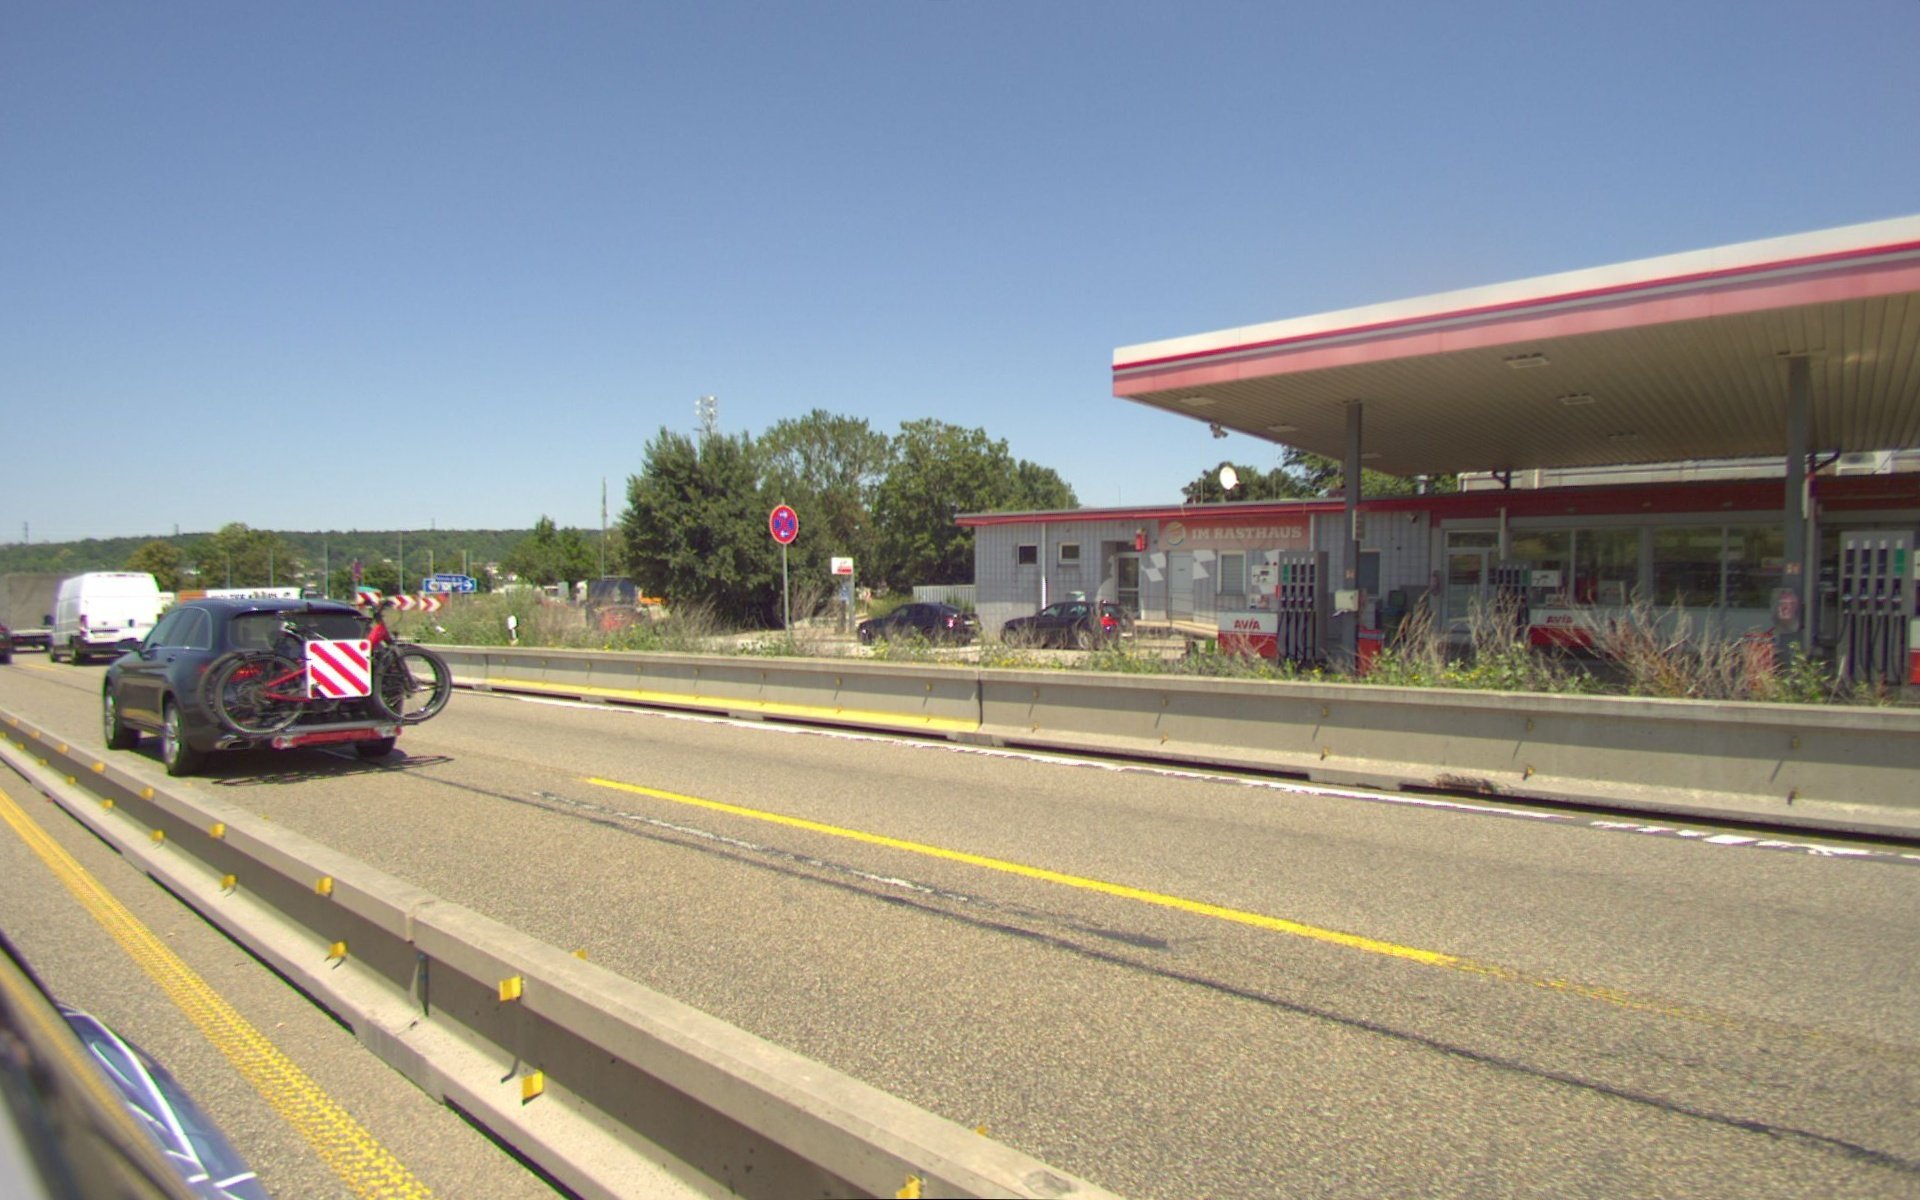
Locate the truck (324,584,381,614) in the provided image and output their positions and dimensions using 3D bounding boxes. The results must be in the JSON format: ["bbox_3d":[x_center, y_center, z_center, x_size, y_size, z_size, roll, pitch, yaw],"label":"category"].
[{"bbox_3d":[-85.601,-0.099,142.770,6.054,3.777,2.837,-4,2,-4],"label":"truck"}]

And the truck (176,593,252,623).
[{"bbox_3d":[-126.040,1.306,171.088,9.742,4.250,3.590,-4,2,-6],"label":"truck"}]

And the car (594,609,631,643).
[{"bbox_3d":[-16.291,1.179,47.469,1.478,1.342,4.199,-4,2,-19],"label":"car"}]

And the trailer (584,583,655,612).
[{"bbox_3d":[-47.545,-0.282,141.135,13.427,3.650,2.991,-2,0,41],"label":"trailer"}]

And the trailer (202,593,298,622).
[{"bbox_3d":[-111.420,1.156,158.908,12.561,3.812,2.624,-4,2,-4],"label":"trailer"}]

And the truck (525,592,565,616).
[{"bbox_3d":[-52.219,0.539,127.284,5.625,2.788,2.247,-2,0,39],"label":"truck"}]

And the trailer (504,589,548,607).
[{"bbox_3d":[-86.466,-0.370,201.421,11.695,3.405,2.915,-2,-1,40],"label":"trailer"}]

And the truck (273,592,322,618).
[{"bbox_3d":[-104.401,0.830,159.542,5.647,3.644,2.585,-4,2,-8],"label":"truck"}]

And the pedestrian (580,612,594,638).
[{"bbox_3d":[-17.308,1.167,46.917,0.467,1.214,0.587,-1,-1,-34],"label":"pedestrian"}]

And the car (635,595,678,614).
[{"bbox_3d":[-40.249,0.565,134.266,4.966,2.270,1.996,-2,0,7],"label":"car"}]

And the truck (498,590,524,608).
[{"bbox_3d":[-91.029,-0.230,205.183,4.902,3.383,2.866,-2,0,39],"label":"truck"}]

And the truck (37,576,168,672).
[{"bbox_3d":[-27.668,0.746,32.563,6.488,2.807,2.216,-2,-1,41],"label":"truck"}]

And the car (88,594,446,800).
[{"bbox_3d":[-7.155,0.815,10.227,4.732,1.616,1.837,-2,-1,41],"label":"car"}]

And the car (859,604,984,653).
[{"bbox_3d":[-1.309,0.956,33.241,3.997,1.365,1.629,-3,2,41],"label":"car"}]

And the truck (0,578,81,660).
[{"bbox_3d":[-40.880,0.790,44.314,8.112,3.317,2.469,-1,0,41],"label":"truck"}]

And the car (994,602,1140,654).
[{"bbox_3d":[3.069,0.818,29.509,3.997,1.343,1.629,-2,1,41],"label":"car"}]

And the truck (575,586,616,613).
[{"bbox_3d":[-52.397,-0.019,145.425,5.957,3.650,2.835,-2,0,41],"label":"truck"}]

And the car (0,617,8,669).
[{"bbox_3d":[-31.936,1.391,32.334,3.999,1.623,1.918,-2,-1,42],"label":"car"}]

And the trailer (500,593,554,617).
[{"bbox_3d":[-55.660,0.644,130.081,9.385,2.788,2.232,-2,0,39],"label":"trailer"}]

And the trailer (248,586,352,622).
[{"bbox_3d":[-92.756,0.513,142.279,12.193,4.197,2.863,-4,2,-4],"label":"trailer"}]
